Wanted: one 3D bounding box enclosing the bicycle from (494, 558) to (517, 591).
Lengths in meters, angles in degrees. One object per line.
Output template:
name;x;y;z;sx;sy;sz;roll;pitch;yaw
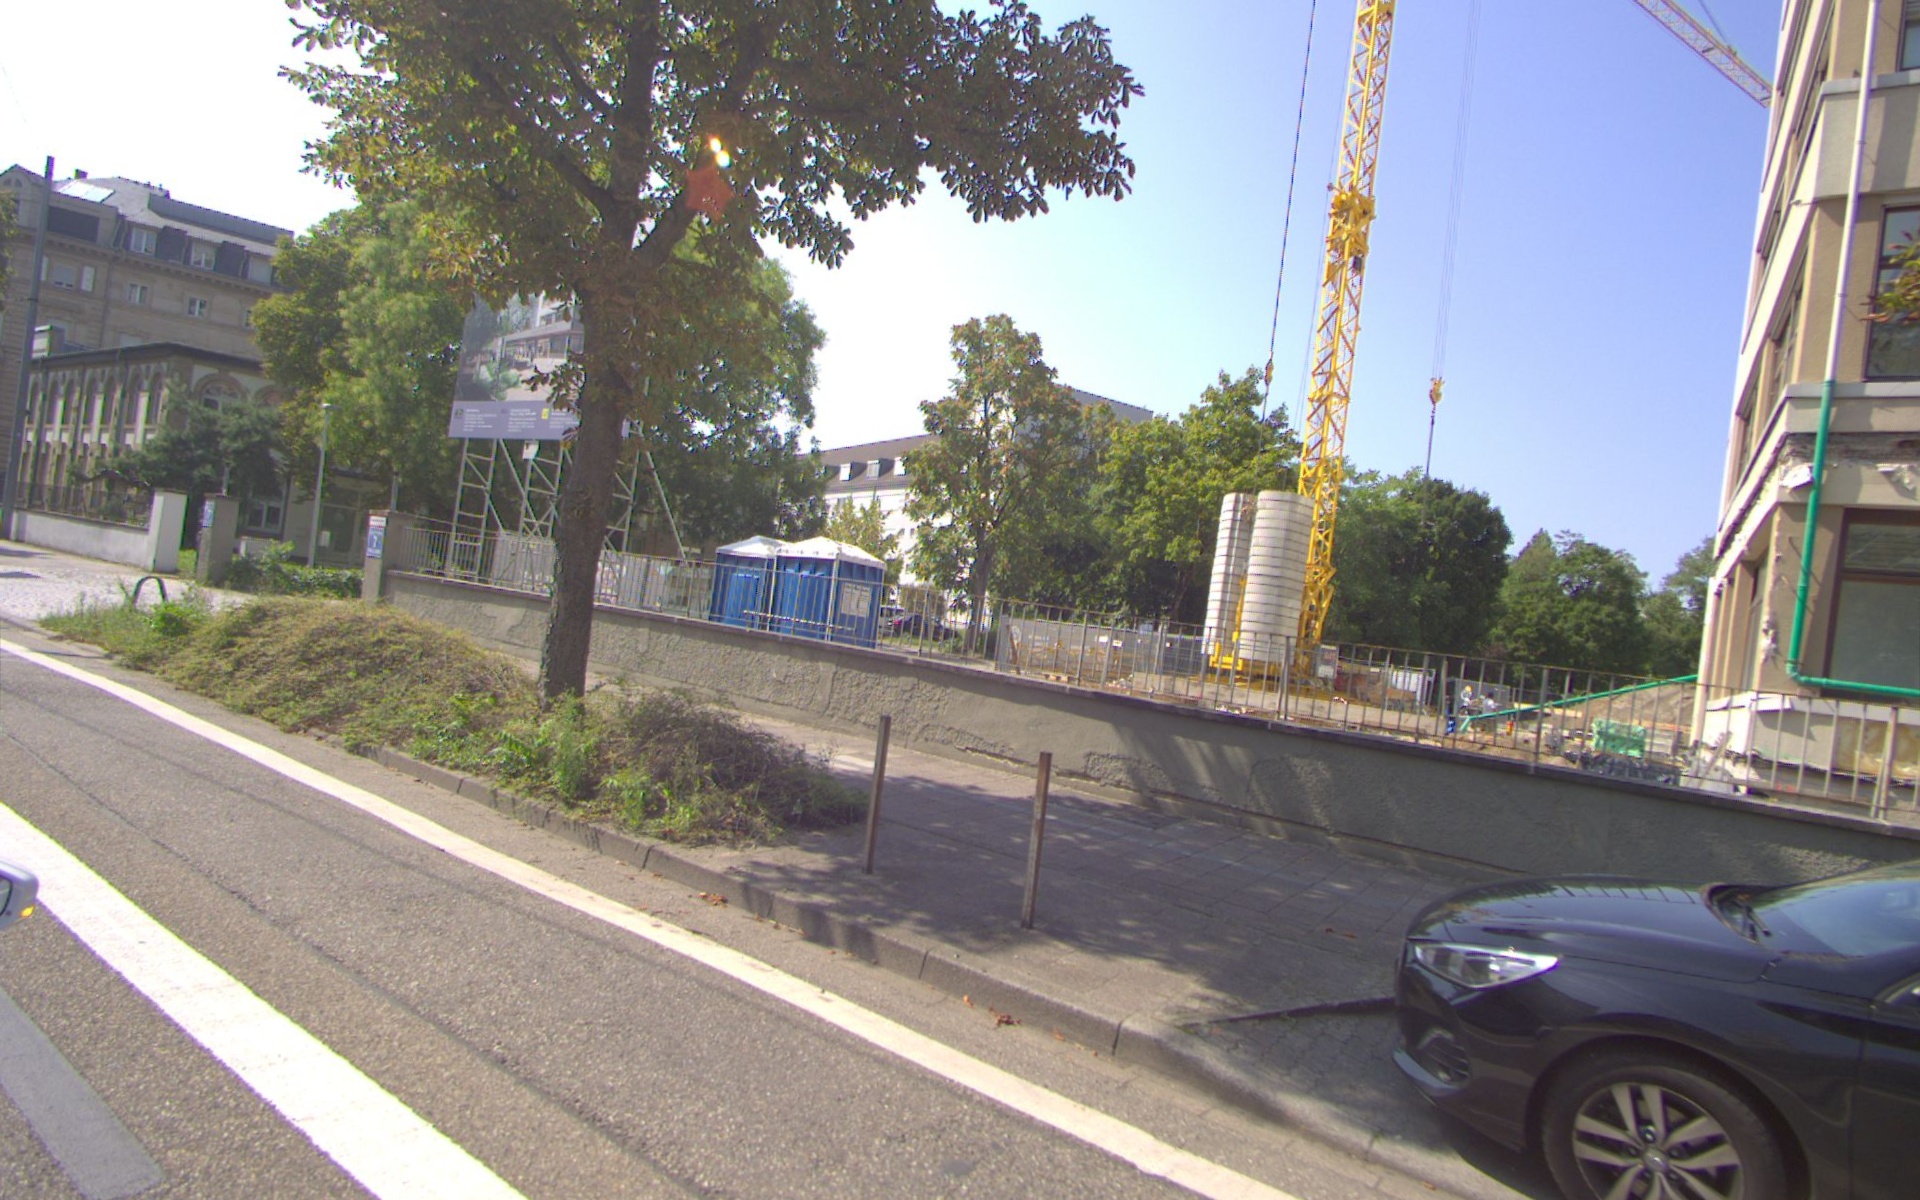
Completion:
bicycle;-20.191;-1.112;44.647;0.762;1.318;2.512;8;-2;-25

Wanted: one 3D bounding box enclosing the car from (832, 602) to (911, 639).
car;-5.280;1.220;60.194;4.254;1.613;1.789;9;-2;-27

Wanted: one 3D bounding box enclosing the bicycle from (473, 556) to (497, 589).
bicycle;-20.825;-1.217;44.148;0.762;1.318;2.512;8;-2;-25

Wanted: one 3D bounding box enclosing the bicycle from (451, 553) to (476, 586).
bicycle;-21.661;-1.331;43.877;0.762;1.318;2.512;8;-2;-25

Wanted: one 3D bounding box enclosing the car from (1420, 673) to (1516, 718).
car;24.430;4.575;48.501;1.852;1.546;3.900;8;-1;-16

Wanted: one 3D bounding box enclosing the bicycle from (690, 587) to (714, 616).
bicycle;-12.649;0.072;49.281;0.601;1.318;2.161;8;-2;-25

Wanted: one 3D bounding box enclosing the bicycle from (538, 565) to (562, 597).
bicycle;-18.701;-0.861;45.895;0.762;1.318;2.512;8;-2;-25

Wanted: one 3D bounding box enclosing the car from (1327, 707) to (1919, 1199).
car;3.730;1.417;2.969;4.589;1.476;1.675;7;0;34
